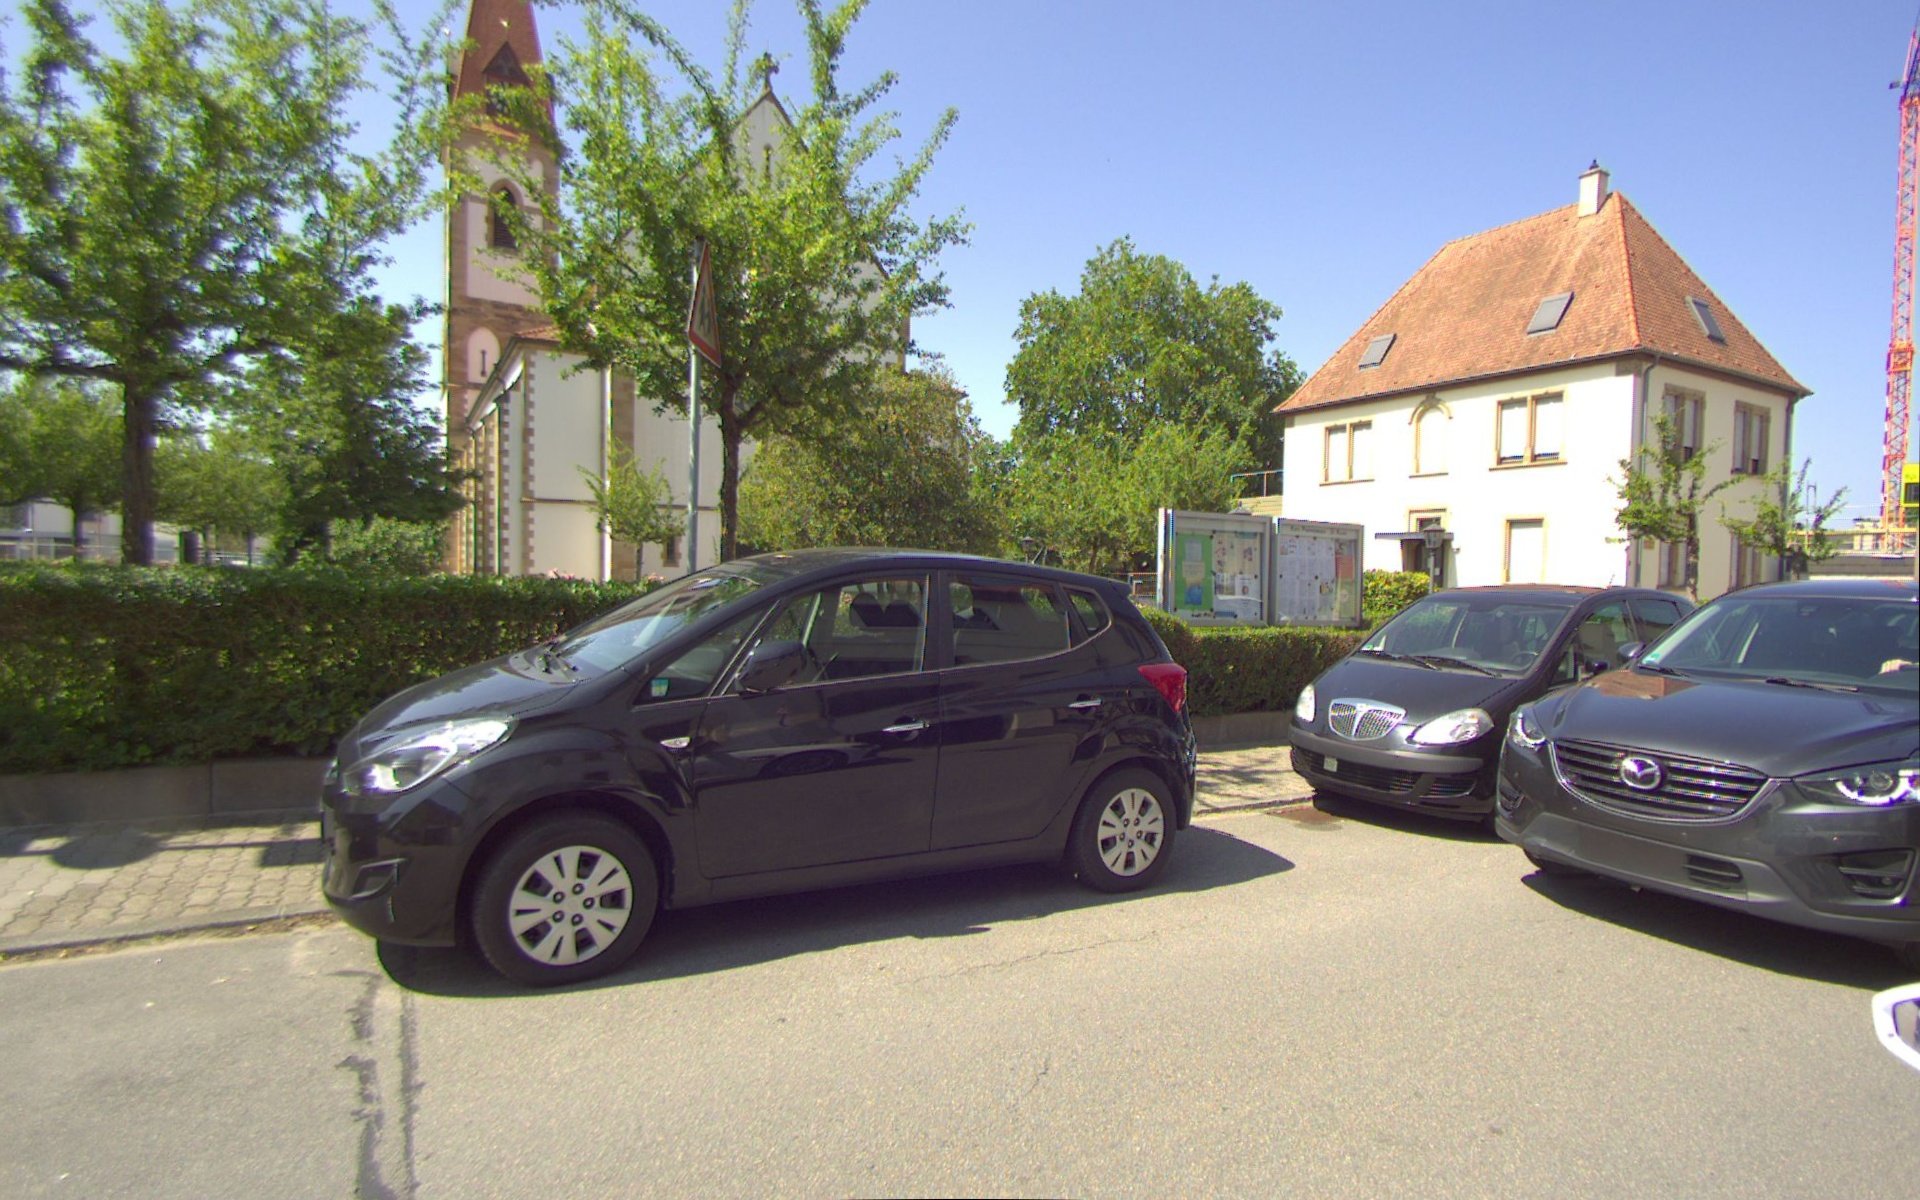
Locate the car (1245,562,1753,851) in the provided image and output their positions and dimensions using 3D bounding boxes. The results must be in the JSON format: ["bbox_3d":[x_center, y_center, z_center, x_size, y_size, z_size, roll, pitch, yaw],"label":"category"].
[{"bbox_3d":[4.042,0.603,7.411,3.725,1.651,1.629,0,1,-31],"label":"car"}]

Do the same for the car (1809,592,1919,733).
[{"bbox_3d":[13.132,0.777,13.173,4.170,1.652,1.816,1,1,-32],"label":"car"}]

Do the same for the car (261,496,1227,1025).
[{"bbox_3d":[-0.839,0.498,4.851,3.976,1.626,1.807,1,1,-30],"label":"car"}]

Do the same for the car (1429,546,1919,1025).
[{"bbox_3d":[4.670,0.658,5.363,4.103,1.691,1.873,1,1,-30],"label":"car"}]
